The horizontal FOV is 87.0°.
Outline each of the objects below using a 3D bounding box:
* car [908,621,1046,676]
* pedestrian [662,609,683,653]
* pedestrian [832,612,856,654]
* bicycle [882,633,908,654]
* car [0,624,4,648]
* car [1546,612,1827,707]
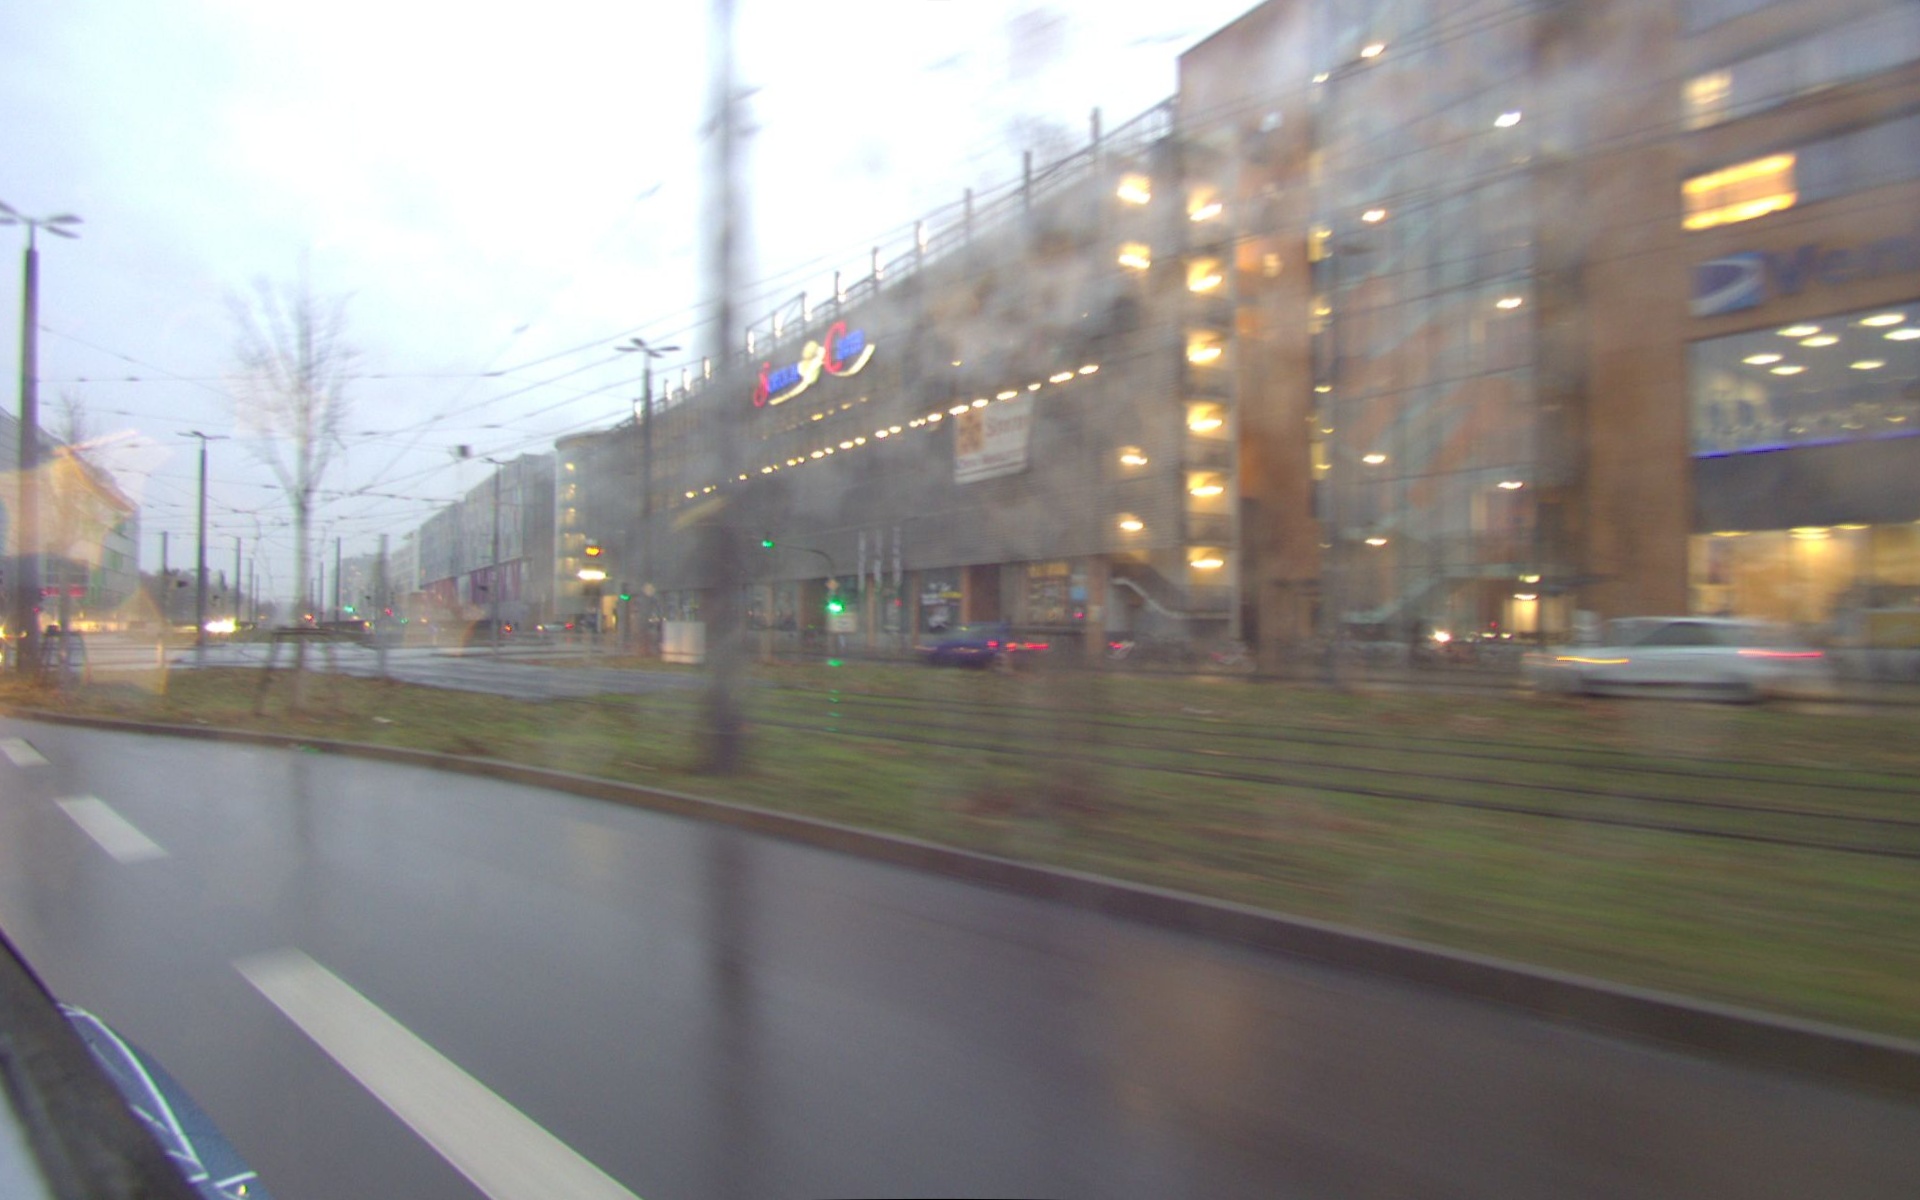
[{"bbox_3d":[0.440,1.355,29.278,1.793,1.453,3.961,1,-2,-42],"label":"car"},{"bbox_3d":[-19.633,2.132,69.163,1.095,2.947,0.969,2,-1,-33],"label":"pedestrian"},{"bbox_3d":[-6.836,1.922,59.404,0.950,2.457,1.117,2,-1,-33],"label":"pedestrian"},{"bbox_3d":[-3.710,2.467,57.914,0.469,1.130,2.097,2,-1,-34],"label":"bicycle"},{"bbox_3d":[-67.416,2.494,69.585,1.803,1.674,4.011,1,-2,-34],"label":"car"},{"bbox_3d":[11.946,0.914,16.773,3.652,1.383,1.490,0,-1,42],"label":"car"}]
